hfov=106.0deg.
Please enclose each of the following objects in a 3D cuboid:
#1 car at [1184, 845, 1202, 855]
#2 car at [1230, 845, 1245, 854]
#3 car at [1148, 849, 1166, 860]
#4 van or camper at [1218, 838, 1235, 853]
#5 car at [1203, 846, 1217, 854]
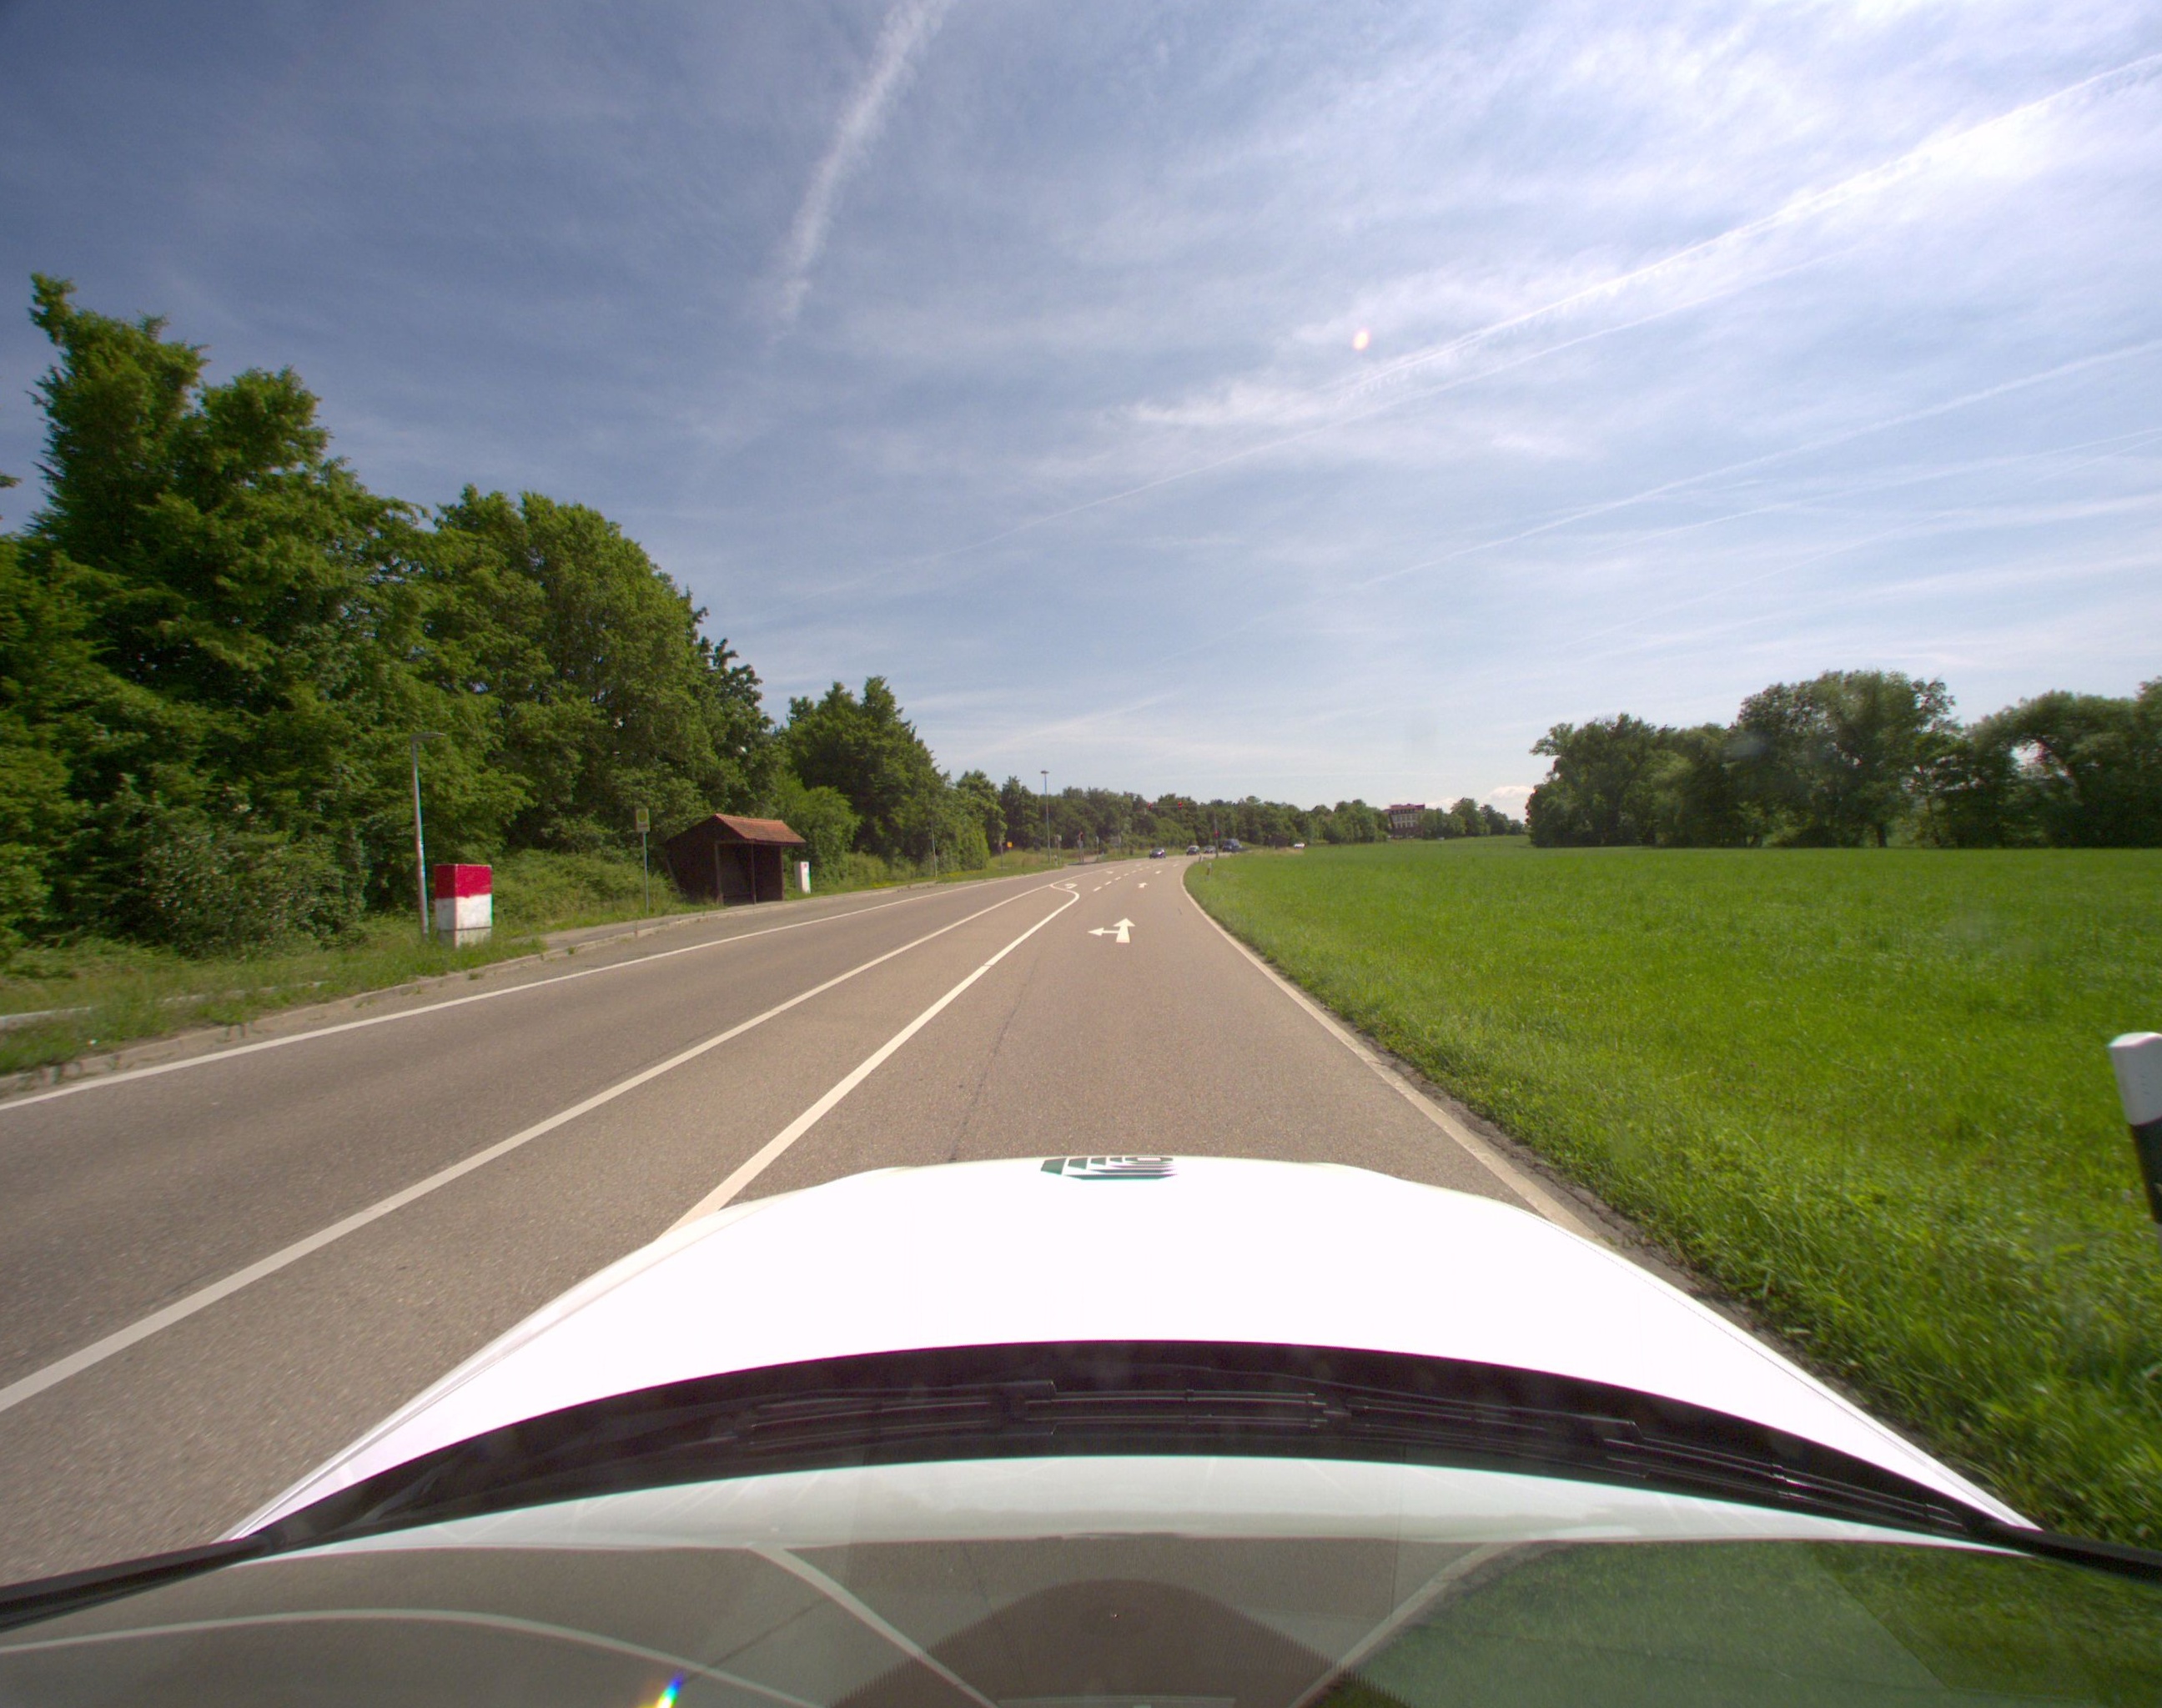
[{"bbox_3d":[19.253,-0.652,139.898,1.956,1.562,4.213,-1,0,26],"label":"car"},{"bbox_3d":[28.444,-0.852,148.010,1.976,1.574,4.022,-2,0,23],"label":"car"},{"bbox_3d":[10.847,0.066,116.568,1.778,1.474,4.329,-1,0,16],"label":"car"},{"bbox_3d":[30.759,-1.900,171.819,2.221,2.913,7.285,-2,2,20],"label":"van or camper"},{"bbox_3d":[24.590,-0.830,155.399,1.692,1.483,3.853,-1,0,22],"label":"car"}]
